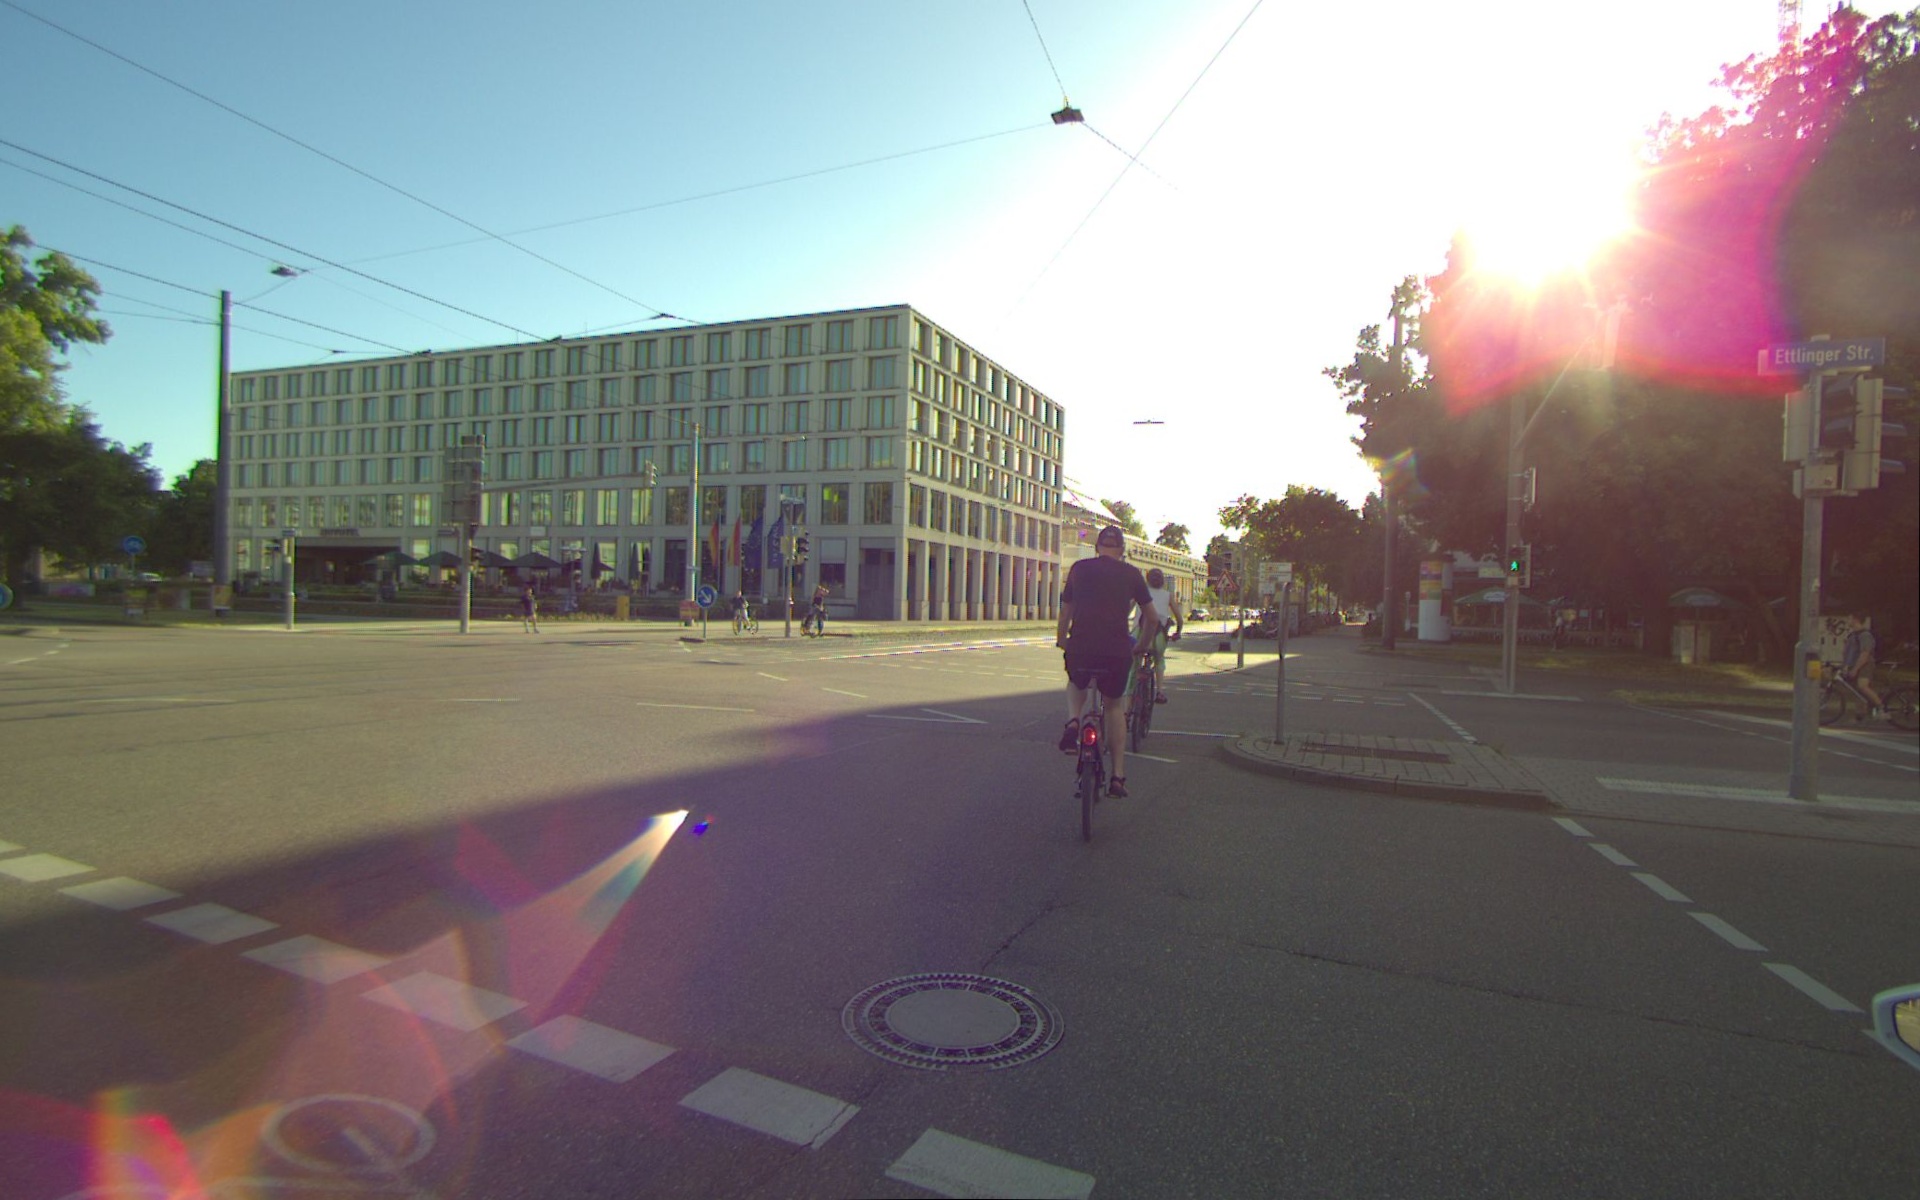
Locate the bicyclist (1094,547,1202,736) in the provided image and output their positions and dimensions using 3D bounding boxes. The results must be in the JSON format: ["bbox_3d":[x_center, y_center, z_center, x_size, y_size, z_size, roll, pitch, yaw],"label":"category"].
[{"bbox_3d":[1.854,0.395,9.827,0.761,1.712,0.925,3,-1,24],"label":"bicyclist"}]

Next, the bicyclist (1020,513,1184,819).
[{"bbox_3d":[0.918,0.384,6.369,0.740,1.766,0.838,3,0,24],"label":"bicyclist"}]

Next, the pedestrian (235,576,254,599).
[{"bbox_3d":[-51.102,-0.894,71.747,0.747,1.546,0.784,2,0,25],"label":"pedestrian"}]

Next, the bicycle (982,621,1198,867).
[{"bbox_3d":[0.910,0.786,6.391,0.763,1.256,2.020,3,0,24],"label":"bicycle"}]

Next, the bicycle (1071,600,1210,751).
[{"bbox_3d":[1.827,0.700,9.812,0.763,1.256,2.311,3,-1,24],"label":"bicycle"}]

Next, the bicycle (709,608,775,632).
[{"bbox_3d":[-8.238,0.767,38.031,2.309,0.862,0.836,2,0,-31],"label":"bicycle"}]

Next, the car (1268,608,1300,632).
[{"bbox_3d":[20.745,1.271,64.292,1.670,1.447,3.999,2,0,21],"label":"car"}]

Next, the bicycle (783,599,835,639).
[{"bbox_3d":[-4.967,0.610,32.986,0.838,1.247,1.993,2,0,-36],"label":"bicycle"}]

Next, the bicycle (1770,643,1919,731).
[{"bbox_3d":[14.231,1.353,15.854,2.214,1.256,0.775,1,-1,39],"label":"bicycle"}]

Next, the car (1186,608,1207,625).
[{"bbox_3d":[29.951,2.090,127.287,1.961,1.996,3.999,2,0,21],"label":"car"}]

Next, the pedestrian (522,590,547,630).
[{"bbox_3d":[-16.601,0.399,39.219,0.591,1.546,0.624,2,0,19],"label":"pedestrian"}]

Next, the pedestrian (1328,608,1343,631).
[{"bbox_3d":[28.673,1.473,76.717,0.768,1.763,0.895,1,0,5],"label":"pedestrian"}]

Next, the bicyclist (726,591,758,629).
[{"bbox_3d":[-8.272,0.381,38.022,0.961,1.380,0.820,2,0,-29],"label":"bicyclist"}]

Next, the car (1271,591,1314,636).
[{"bbox_3d":[23.270,0.940,70.106,2.549,2.992,5.088,2,0,21],"label":"car"}]

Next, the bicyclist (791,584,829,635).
[{"bbox_3d":[-4.937,0.319,32.951,0.844,1.641,0.963,2,0,-37],"label":"bicyclist"}]

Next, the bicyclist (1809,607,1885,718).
[{"bbox_3d":[14.087,0.975,15.982,0.826,1.701,0.781,1,-1,38],"label":"bicyclist"}]

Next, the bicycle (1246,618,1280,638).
[{"bbox_3d":[14.919,1.386,49.518,1.573,0.901,0.770,2,0,16],"label":"bicycle"}]

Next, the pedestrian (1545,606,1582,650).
[{"bbox_3d":[25.263,1.172,42.058,1.196,1.763,0.890,1,0,40],"label":"pedestrian"}]

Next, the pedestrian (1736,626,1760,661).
[{"bbox_3d":[31.223,1.727,39.829,0.588,1.358,0.733,1,0,27],"label":"pedestrian"}]

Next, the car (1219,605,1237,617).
[{"bbox_3d":[37.641,1.527,140.929,1.961,1.662,3.999,2,0,21],"label":"car"}]
